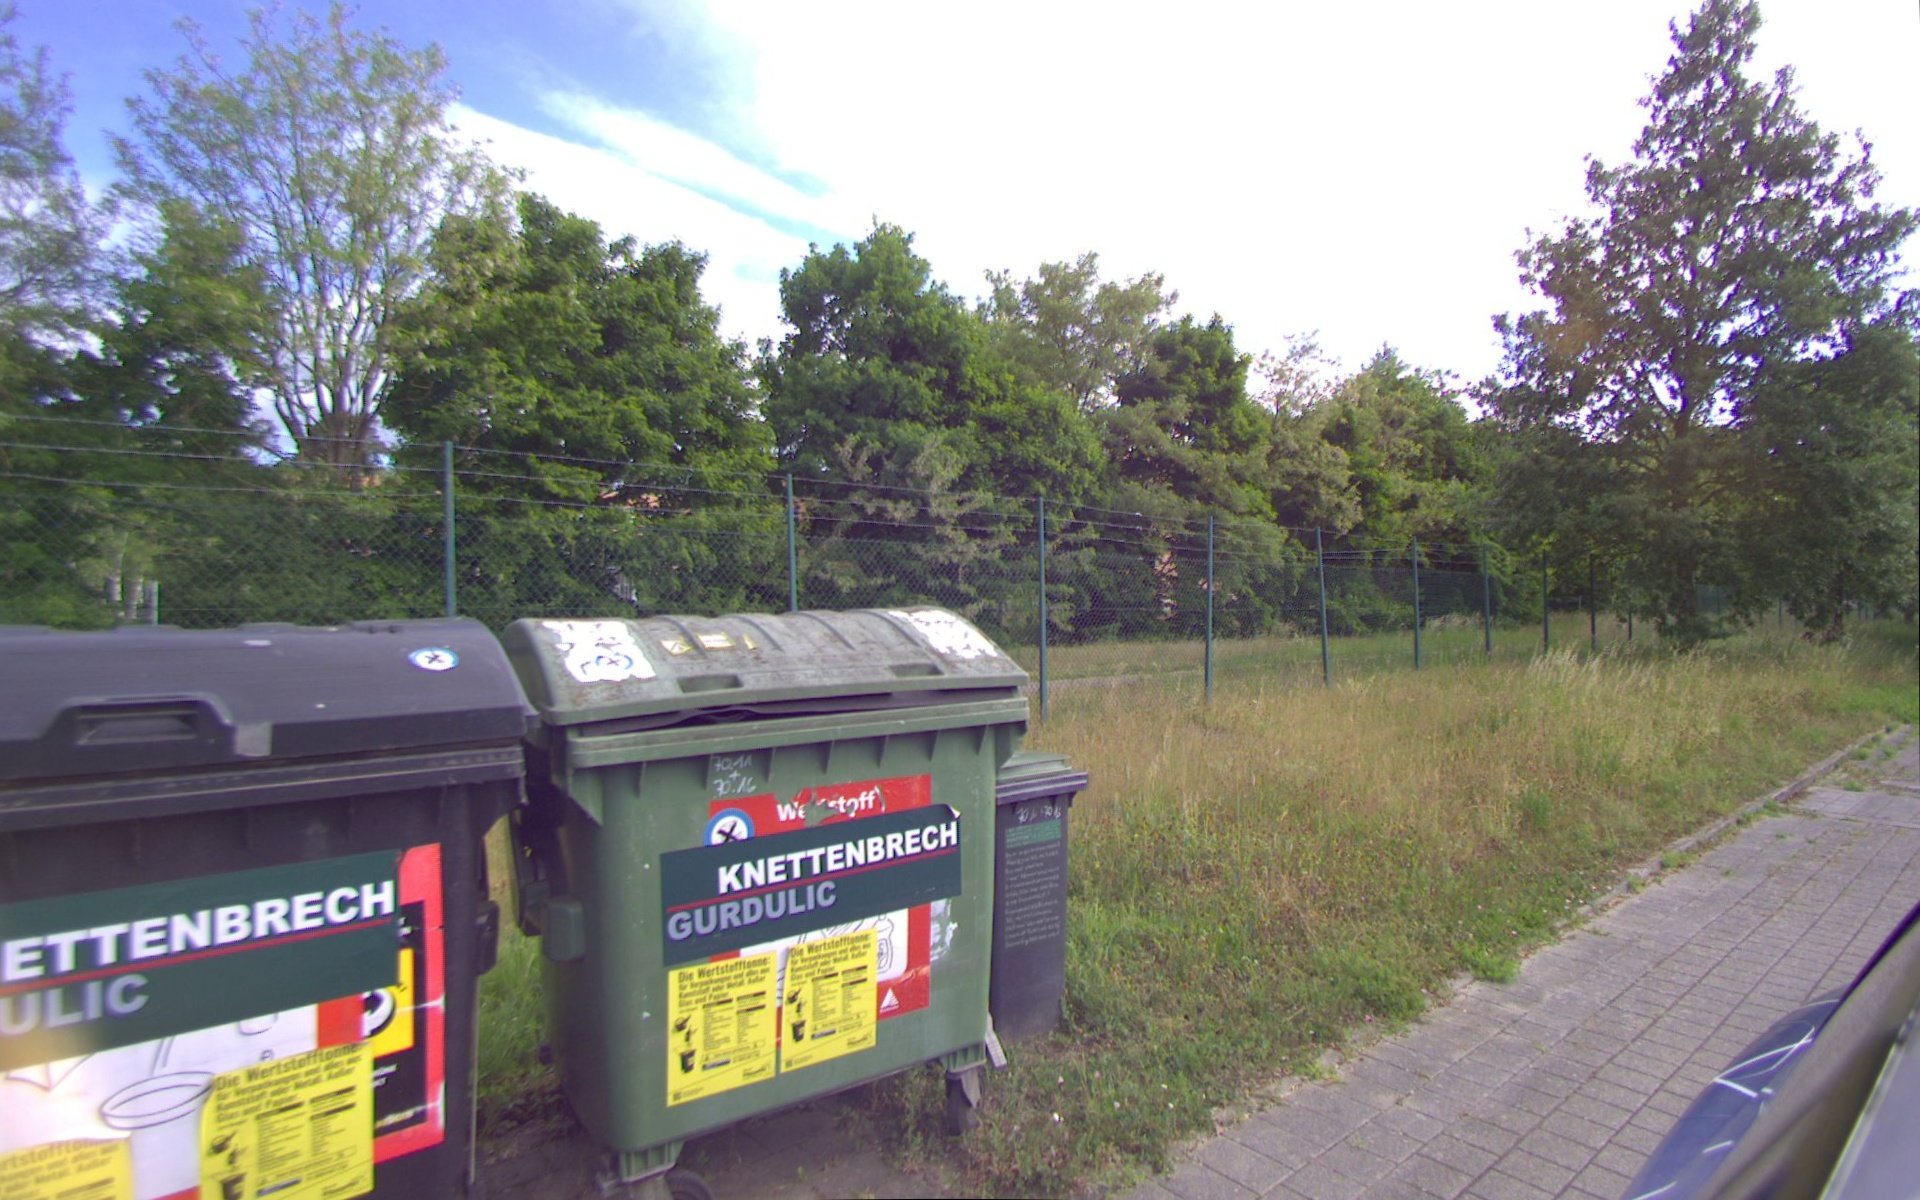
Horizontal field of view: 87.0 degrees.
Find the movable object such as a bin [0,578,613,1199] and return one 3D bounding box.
[{"bbox_3d":[-1.565,0.697,2.018,1.373,1.453,1.072,-1,0,-38],"label":"movable object such as a bin"}]

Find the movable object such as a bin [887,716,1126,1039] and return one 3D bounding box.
[{"bbox_3d":[0.148,0.889,3.482,0.574,0.876,0.602,-1,0,-32],"label":"movable object such as a bin"}]

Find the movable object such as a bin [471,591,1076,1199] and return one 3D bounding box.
[{"bbox_3d":[-0.561,0.697,2.838,1.330,1.413,1.132,-1,0,-32],"label":"movable object such as a bin"}]
